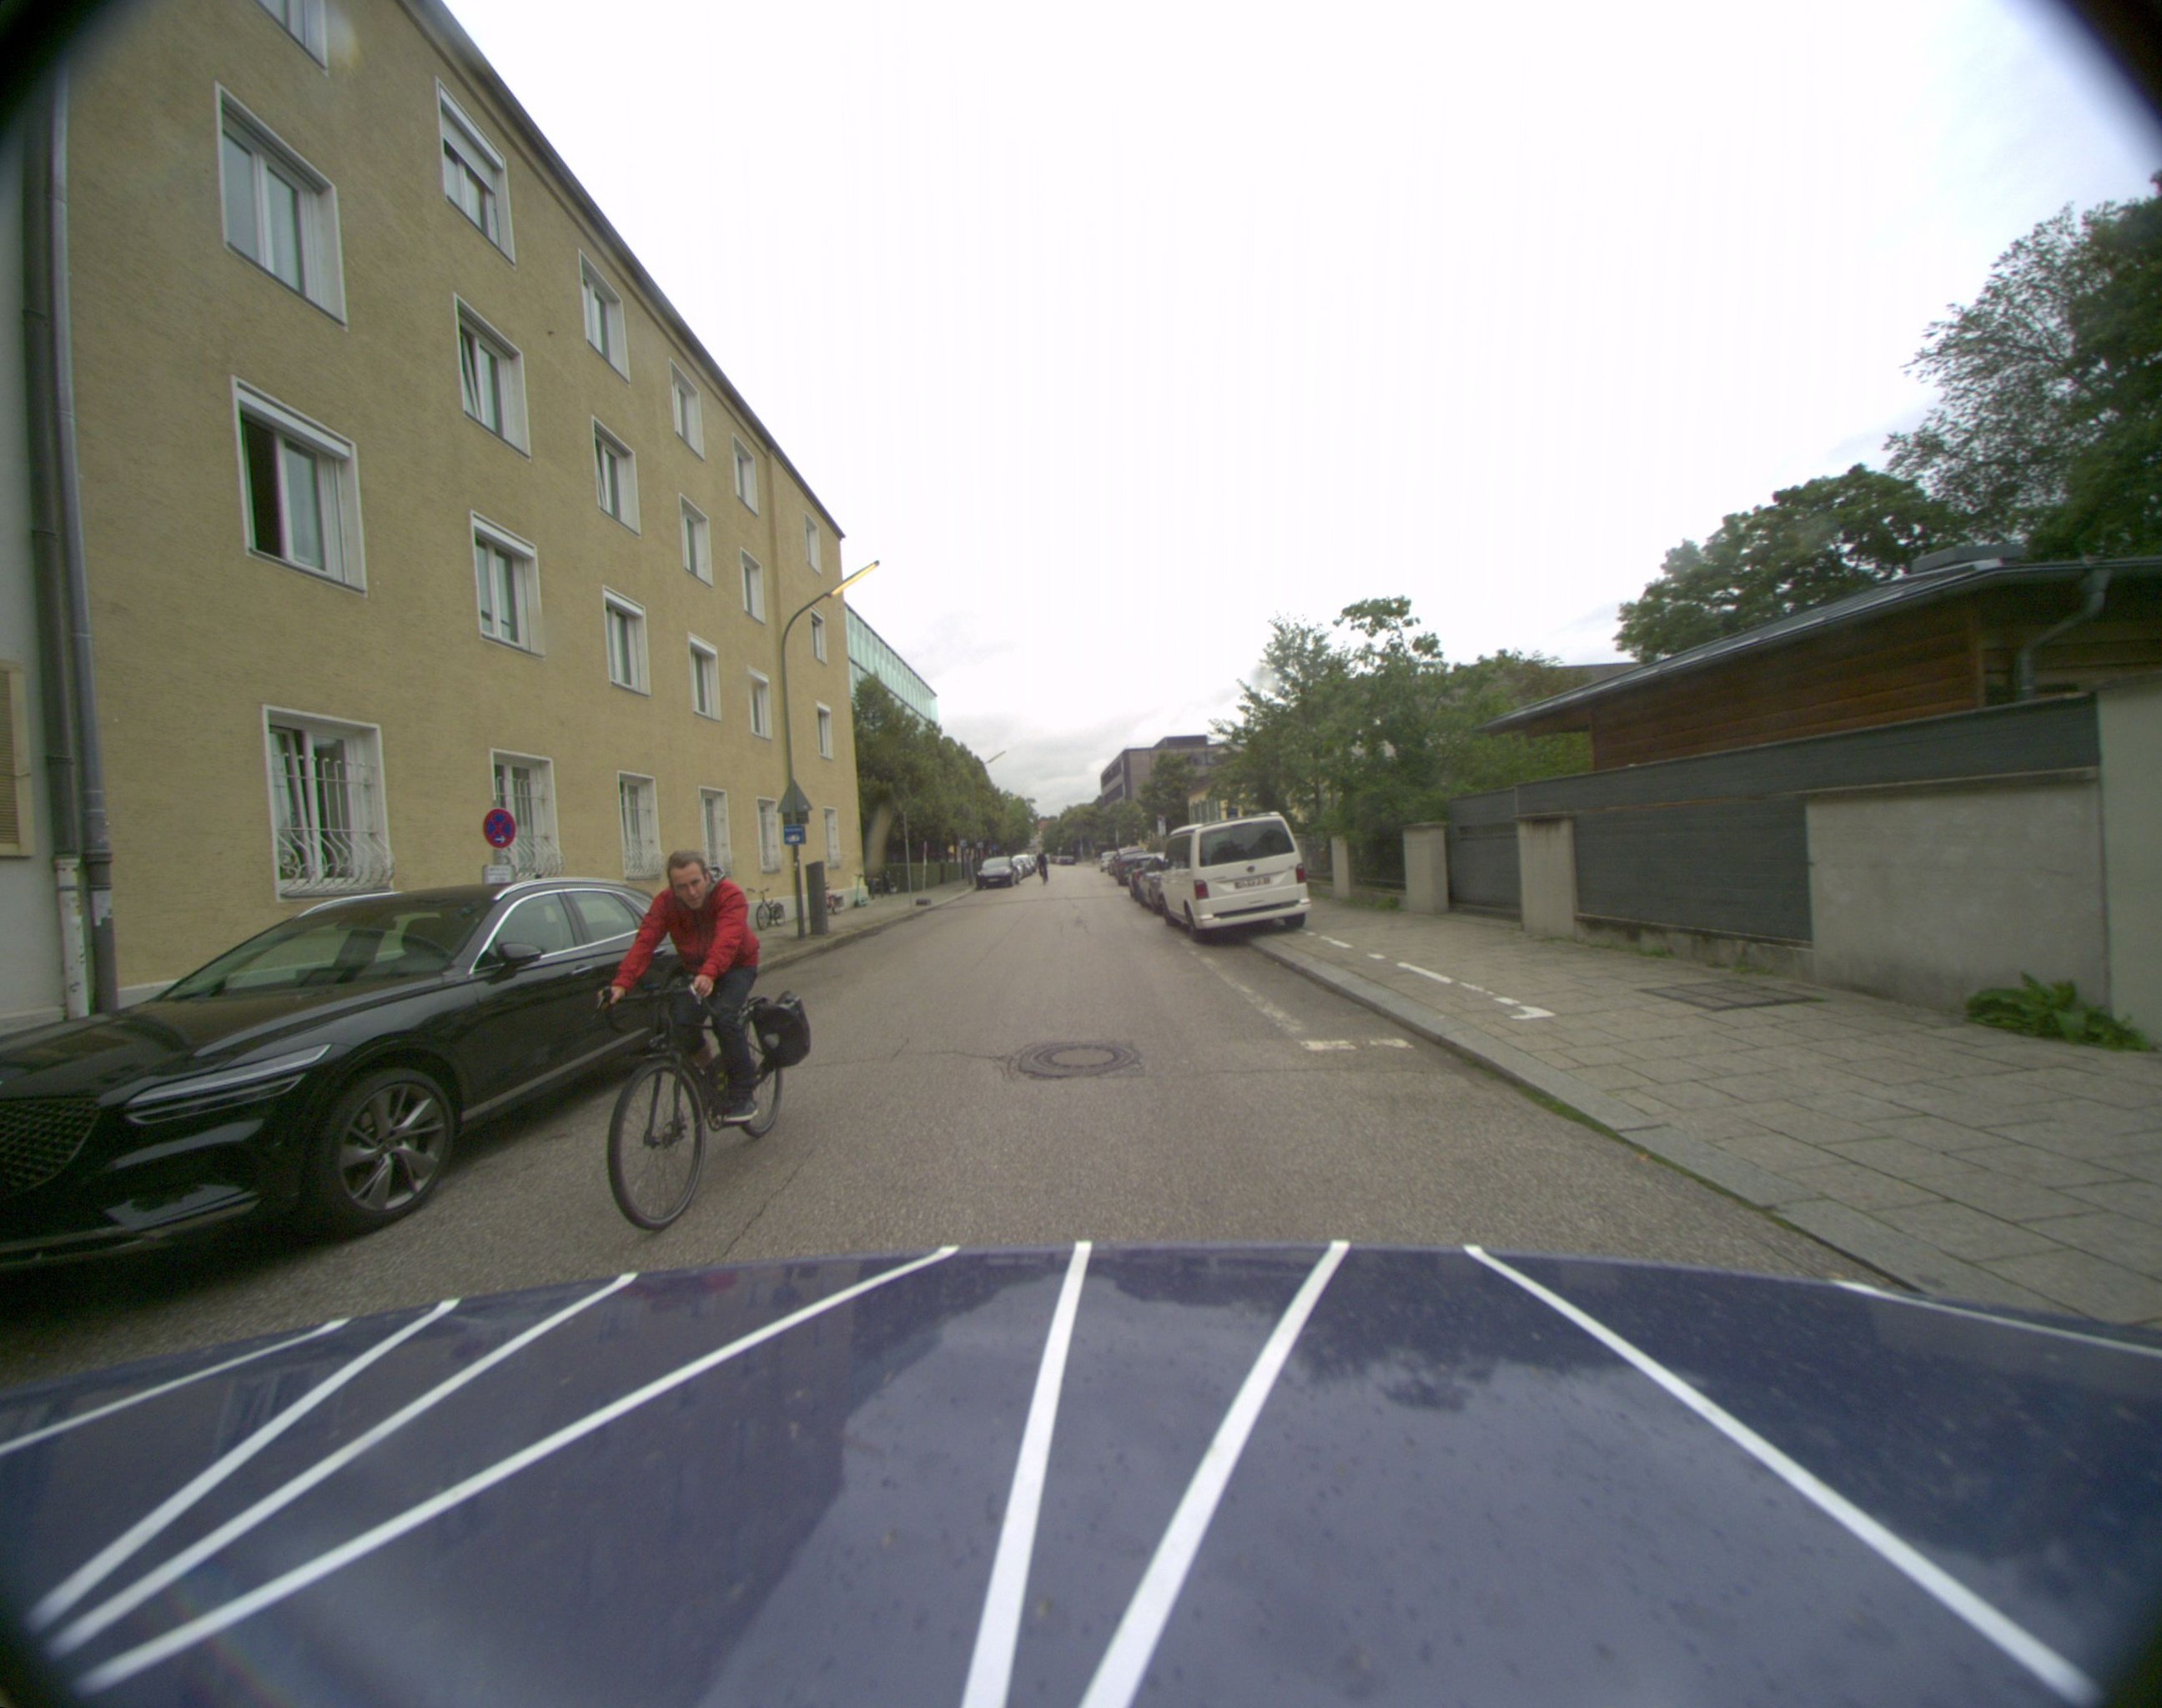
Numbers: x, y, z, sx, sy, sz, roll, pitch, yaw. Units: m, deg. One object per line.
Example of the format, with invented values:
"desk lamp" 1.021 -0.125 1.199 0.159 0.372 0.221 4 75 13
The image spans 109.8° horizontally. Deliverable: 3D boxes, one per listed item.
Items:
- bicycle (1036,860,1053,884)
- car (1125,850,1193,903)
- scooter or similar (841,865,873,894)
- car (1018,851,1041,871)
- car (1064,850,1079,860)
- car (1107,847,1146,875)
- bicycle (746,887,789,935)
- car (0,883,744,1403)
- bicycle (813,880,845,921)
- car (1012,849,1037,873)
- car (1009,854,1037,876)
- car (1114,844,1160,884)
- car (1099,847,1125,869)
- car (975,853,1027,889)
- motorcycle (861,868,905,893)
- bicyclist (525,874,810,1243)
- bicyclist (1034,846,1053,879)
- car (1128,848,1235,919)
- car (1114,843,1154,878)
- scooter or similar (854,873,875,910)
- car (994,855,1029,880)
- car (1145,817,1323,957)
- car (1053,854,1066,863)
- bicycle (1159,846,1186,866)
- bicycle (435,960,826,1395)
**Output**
"bicycle" -1.934 0.930 40.047 0.720 1.199 1.801 -5 0 -1
"car" 2.501 0.670 25.242 1.863 1.536 4.187 -2 1 1
"scooter or similar" -10.844 1.224 36.805 1.352 1.295 0.669 -2 3 -4
"car" -5.010 0.660 74.465 1.872 1.682 4.783 -5 1 -2
"car" -1.418 0.096 116.476 1.929 1.390 4.485 -4 0 -5
"car" 2.831 0.402 48.418 1.902 1.510 4.653 -5 1 -3
"bicycle" -8.145 1.464 19.820 0.343 1.076 1.813 -1 1 0
"car" -4.240 1.132 5.065 1.865 1.568 4.898 -3 0 -2
"bicycle" -7.830 1.427 23.679 0.343 1.129 1.759 -3 0 0
"car" -5.047 0.587 68.426 1.789 1.884 4.573 -5 1 -1
"car" -4.722 0.845 62.554 1.952 1.543 5.003 -5 1 -2
"car" 2.597 0.425 36.111 1.850 1.598 4.742 -5 1 2
"car" 2.454 0.282 60.749 1.729 1.483 4.460 -5 1 0
"car" -4.315 0.865 41.670 1.998 1.621 5.099 -5 1 2
"motorcycle" -9.534 1.281 36.618 1.898 1.126 0.708 -1 1 1
"bicyclist" -1.930 0.882 3.730 0.756 1.474 0.981 -5 1 -4
"bicyclist" -1.971 0.463 40.068 0.780 1.657 1.035 -5 0 0
"car" 2.510 0.680 20.152 1.892 1.535 4.694 -4 0 -3
"car" 2.930 0.316 43.024 1.907 1.682 4.808 -5 1 1
"scooter or similar" -7.824 1.337 27.461 0.343 1.248 1.309 -2 1 0
"car" -4.647 0.869 51.206 1.999 1.451 4.955 -5 1 -2
"car" 2.557 0.486 14.175 1.972 1.979 5.150 -5 1 -2
"car" -4.137 0.885 145.251 1.999 1.510 3.998 -5 1 -5
"bicycle" 6.035 0.137 50.248 1.705 1.165 0.352 -4 1 -2
"bicycle" -1.875 1.248 3.615 0.674 1.135 2.010 -5 1 -4
